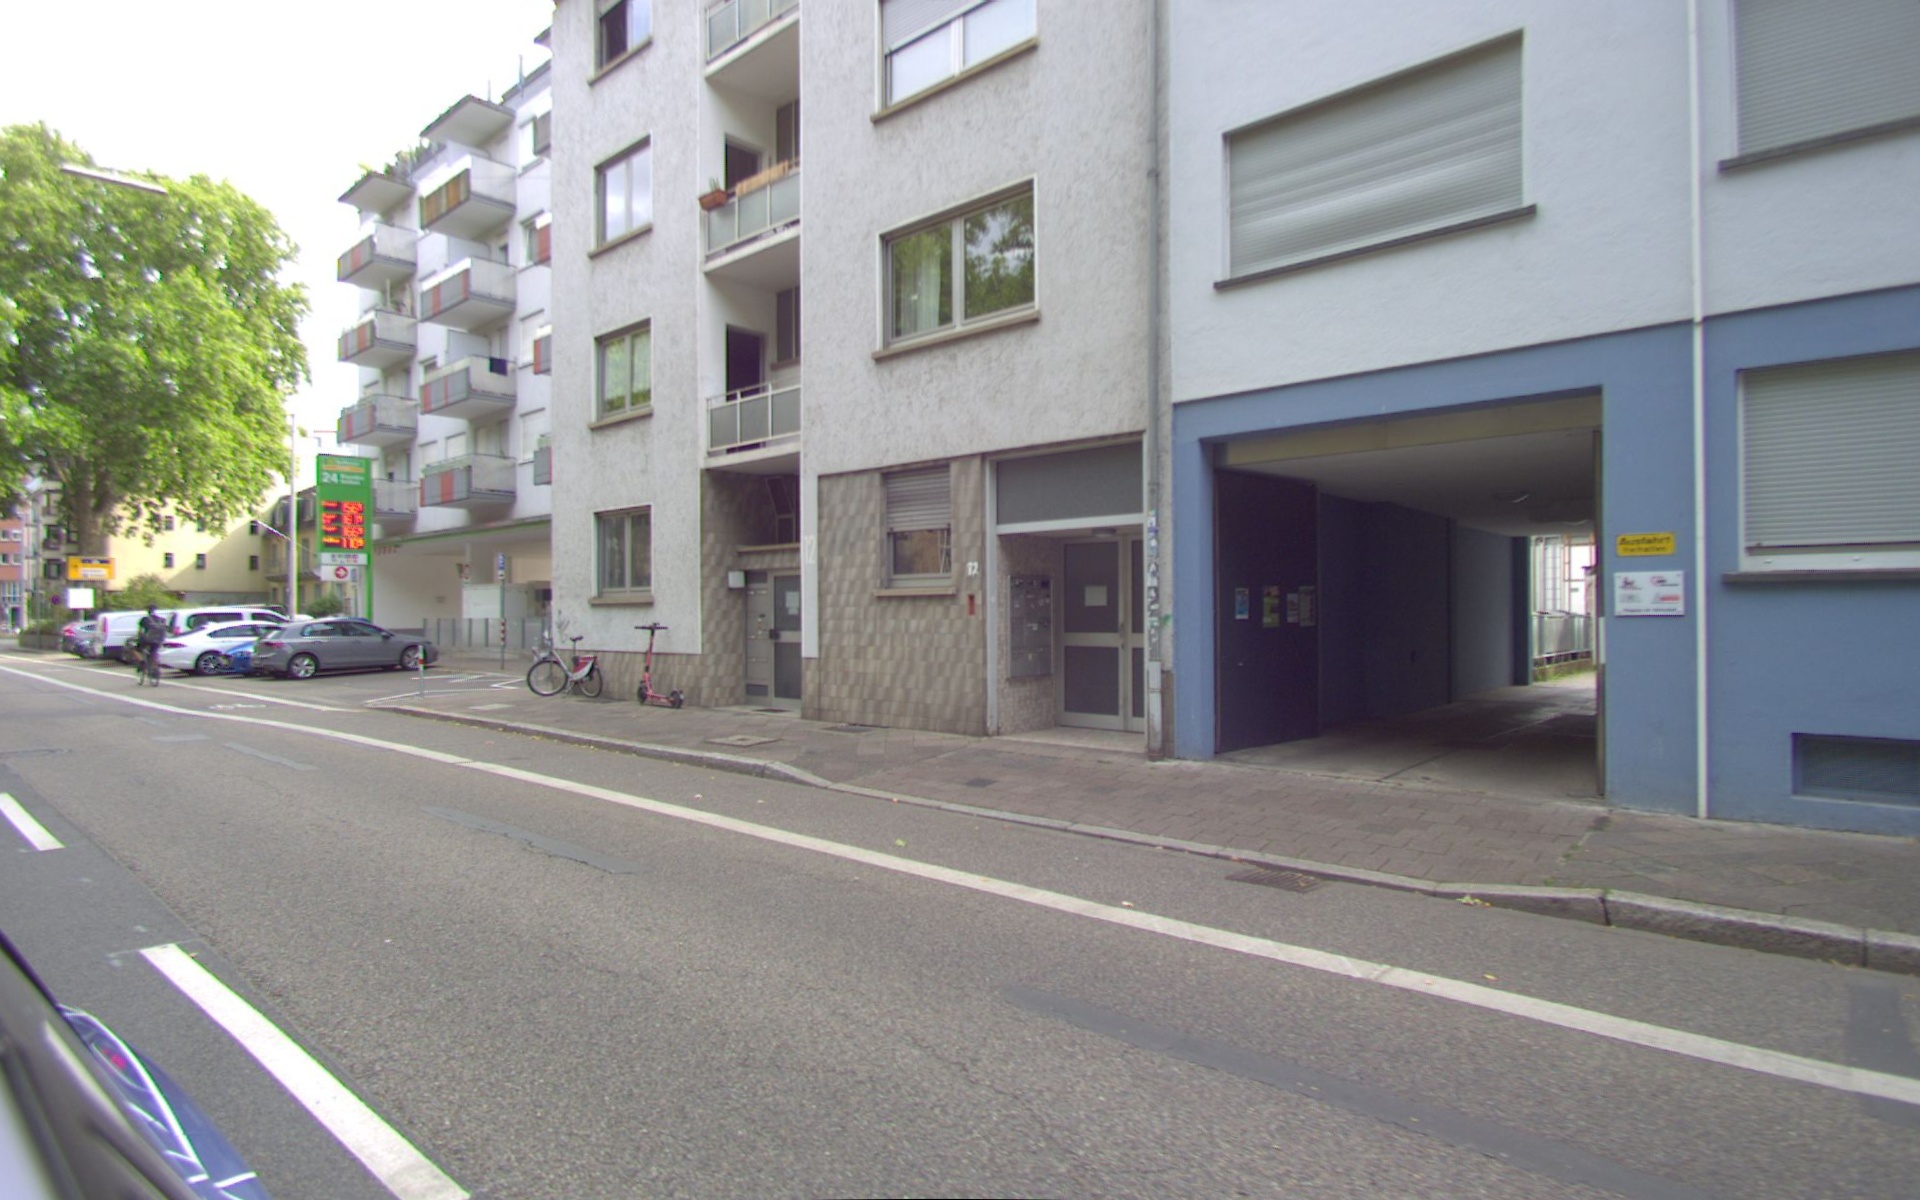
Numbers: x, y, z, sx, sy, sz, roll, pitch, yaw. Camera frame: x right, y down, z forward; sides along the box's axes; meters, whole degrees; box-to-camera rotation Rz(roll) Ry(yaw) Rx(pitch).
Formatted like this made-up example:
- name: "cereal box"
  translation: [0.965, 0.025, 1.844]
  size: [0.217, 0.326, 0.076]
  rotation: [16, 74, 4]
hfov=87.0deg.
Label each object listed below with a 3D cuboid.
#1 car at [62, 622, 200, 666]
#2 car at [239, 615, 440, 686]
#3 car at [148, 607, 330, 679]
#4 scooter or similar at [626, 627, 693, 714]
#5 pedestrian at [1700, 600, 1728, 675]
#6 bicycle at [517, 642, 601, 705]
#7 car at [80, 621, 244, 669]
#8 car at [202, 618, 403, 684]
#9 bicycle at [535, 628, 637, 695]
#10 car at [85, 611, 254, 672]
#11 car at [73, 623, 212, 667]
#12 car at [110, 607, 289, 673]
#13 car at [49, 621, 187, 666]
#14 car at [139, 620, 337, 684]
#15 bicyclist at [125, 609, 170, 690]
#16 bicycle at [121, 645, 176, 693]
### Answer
- name: "car"
  translation: [-35.367, 1.852, 43.250]
  size: [1.732, 1.560, 4.316]
  rotation: [-2, 1, 42]
- name: "car"
  translation: [-16.131, 1.266, 26.474]
  size: [1.836, 1.525, 4.107]
  rotation: [-2, 1, 41]
- name: "car"
  translation: [-21.908, 1.251, 30.870]
  size: [1.923, 1.862, 4.167]
  rotation: [-2, 1, 41]
- name: "scooter or similar"
  translation: [-4.437, 1.016, 14.917]
  size: [1.201, 1.231, 0.346]
  rotation: [-2, -1, 42]
- name: "pedestrian"
  translation: [18.225, 0.907, 24.450]
  size: [0.479, 1.778, 0.370]
  rotation: [-2, -2, 41]
- name: "bicycle"
  translation: [-6.578, 1.176, 16.570]
  size: [1.662, 0.957, 0.591]
  rotation: [-2, -1, 41]
- name: "car"
  translation: [-30.491, 1.688, 38.774]
  size: [1.873, 1.481, 4.655]
  rotation: [-2, 1, 42]
- name: "car"
  translation: [-17.944, 1.345, 27.765]
  size: [1.910, 1.462, 4.256]
  rotation: [-2, 1, 41]
- name: "bicycle"
  translation: [-6.853, 1.100, 18.603]
  size: [0.453, 1.126, 1.753]
  rotation: [-2, -1, 41]
- name: "car"
  translation: [-28.808, 1.465, 37.004]
  size: [1.949, 1.873, 4.567]
  rotation: [-2, 1, 42]
- name: "car"
  translation: [-33.753, 1.819, 41.865]
  size: [1.719, 1.522, 4.220]
  rotation: [-2, 1, 42]
- name: "car"
  translation: [-26.711, 1.359, 35.662]
  size: [1.993, 1.948, 4.716]
  rotation: [-2, 1, 42]
- name: "car"
  translation: [-37.149, 1.887, 44.727]
  size: [1.753, 1.618, 4.471]
  rotation: [-2, 1, 42]
- name: "car"
  translation: [-20.335, 1.420, 28.632]
  size: [1.873, 1.462, 4.227]
  rotation: [-2, 1, 41]
- name: "bicyclist"
  translation: [-18.958, 1.141, 23.621]
  size: [1.045, 1.824, 0.645]
  rotation: [-1, 0, 41]
- name: "bicycle"
  translation: [-18.939, 1.584, 23.604]
  size: [2.076, 1.022, 0.639]
  rotation: [-1, 0, 41]
